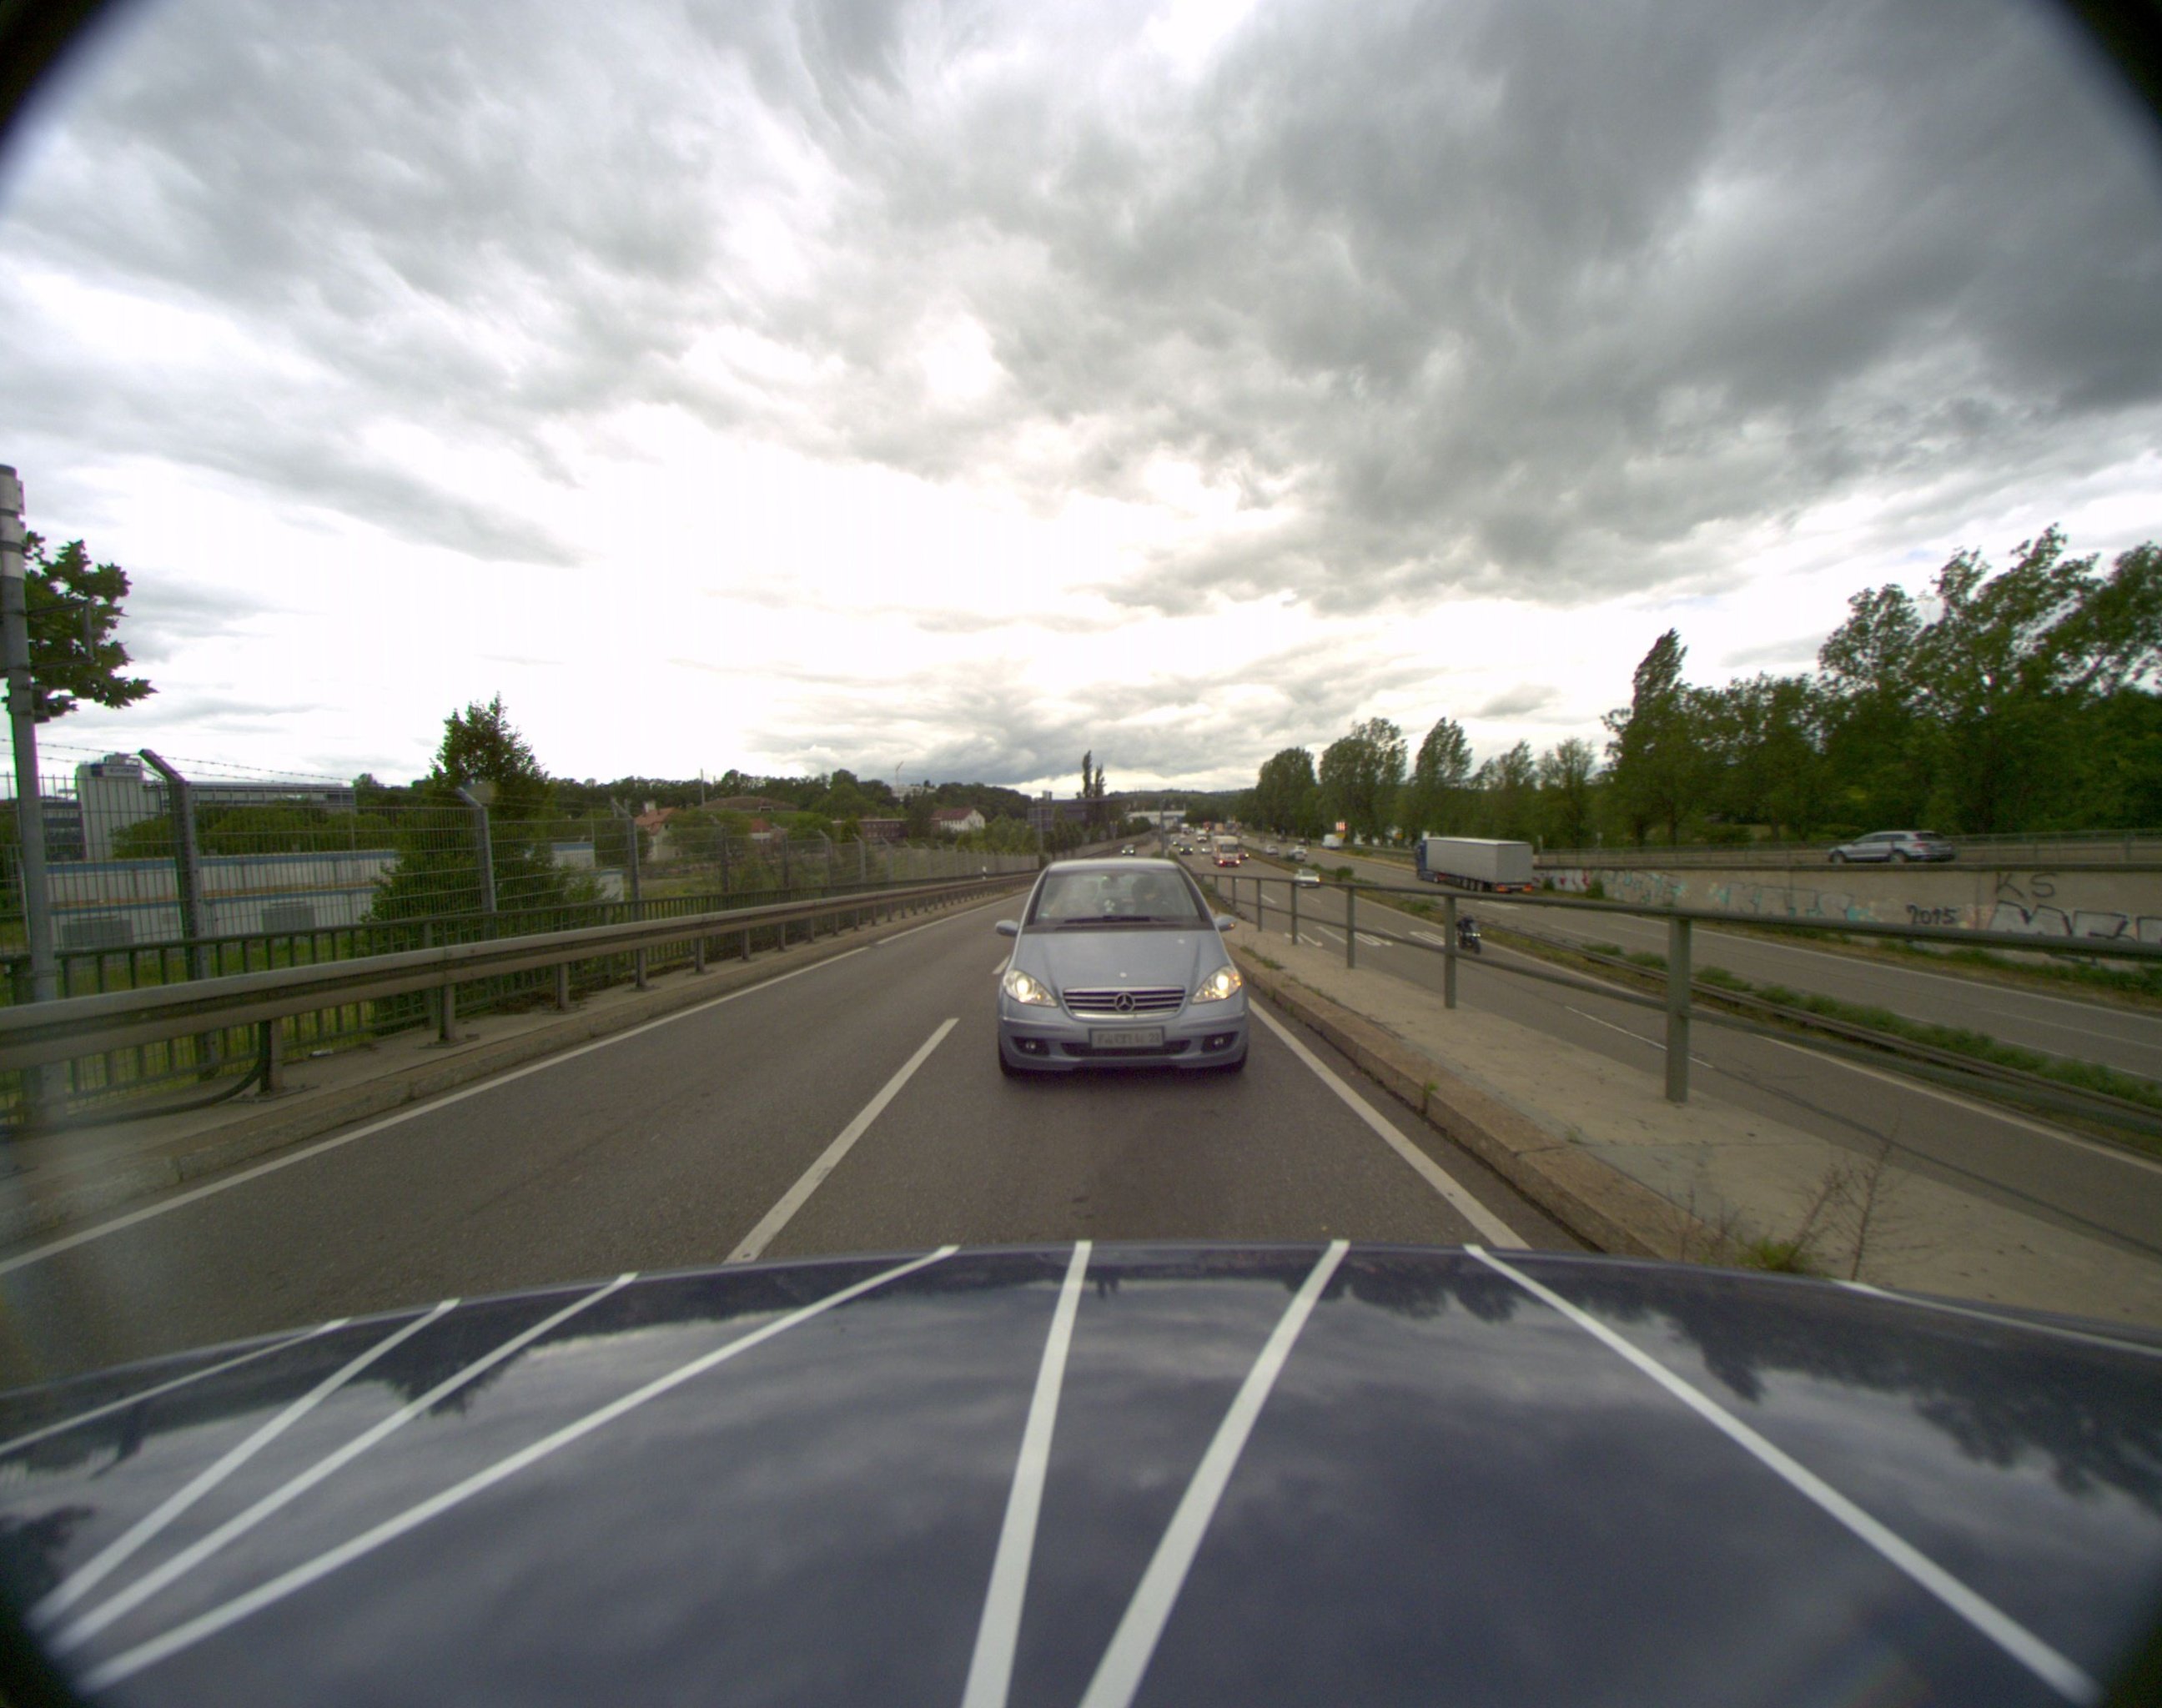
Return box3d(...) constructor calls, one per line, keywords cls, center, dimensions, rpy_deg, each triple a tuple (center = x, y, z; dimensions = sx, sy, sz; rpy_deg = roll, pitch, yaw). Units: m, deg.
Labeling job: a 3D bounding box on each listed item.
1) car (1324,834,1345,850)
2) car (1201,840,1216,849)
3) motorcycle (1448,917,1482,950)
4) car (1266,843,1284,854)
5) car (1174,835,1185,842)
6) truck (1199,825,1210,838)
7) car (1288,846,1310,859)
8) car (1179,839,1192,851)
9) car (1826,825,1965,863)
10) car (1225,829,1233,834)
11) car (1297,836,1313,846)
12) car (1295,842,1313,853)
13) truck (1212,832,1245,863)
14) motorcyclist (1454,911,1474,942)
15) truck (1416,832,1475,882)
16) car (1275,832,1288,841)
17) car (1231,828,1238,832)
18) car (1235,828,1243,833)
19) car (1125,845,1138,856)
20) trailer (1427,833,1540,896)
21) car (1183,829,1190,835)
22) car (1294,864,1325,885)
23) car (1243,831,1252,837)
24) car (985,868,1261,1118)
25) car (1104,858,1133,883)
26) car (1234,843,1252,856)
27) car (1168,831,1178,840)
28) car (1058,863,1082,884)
box3d(cls="car", center=(44.737, -2.189, 134.429), dimensions=(1.998, 2.635, 5.179), rpy_deg=(2, 3, 2))
box3d(cls="car", center=(20.774, -1.566, 123.704), dimensions=(1.789, 1.294, 4.151), rpy_deg=(0, 3, 2))
box3d(cls="motorcycle", center=(17.834, 3.682, 35.357), dimensions=(0.595, 1.197, 2.125), rpy_deg=(-2, 3, 2))
box3d(cls="car", center=(30.133, -0.844, 117.997), dimensions=(1.998, 1.412, 3.999), rpy_deg=(2, 3, 4))
box3d(cls="car", center=(20.632, -3.219, 159.008), dimensions=(1.828, 1.443, 4.125), rpy_deg=(0, 3, 1))
box3d(cls="truck", center=(29.313, -5.453, 180.717), dimensions=(2.238, 2.993, 7.231), rpy_deg=(-1, 3, 6))
box3d(cls="car", center=(28.670, -0.190, 100.113), dimensions=(1.998, 1.412, 3.999), rpy_deg=(2, 3, 4))
box3d(cls="car", center=(16.628, -1.462, 120.983), dimensions=(1.997, 1.830, 4.425), rpy_deg=(0, 3, 7))
box3d(cls="car", center=(38.714, -0.449, 36.289), dimensions=(1.898, 1.642, 4.377), rpy_deg=(-3, 0, 0))
box3d(cls="car", center=(45.073, -6.813, 231.783), dimensions=(1.998, 1.412, 3.999), rpy_deg=(-1, 3, 4))
box3d(cls="car", center=(45.445, -2.637, 154.270), dimensions=(1.886, 1.807, 4.560), rpy_deg=(2, 3, 2))
box3d(cls="car", center=(33.332, -1.003, 113.488), dimensions=(1.682, 1.412, 3.999), rpy_deg=(0, 3, 4))
box3d(cls="truck", center=(18.401, -0.935, 95.299), dimensions=(2.888, 3.506, 9.870), rpy_deg=(1, 3, 4))
box3d(cls="motorcyclist", center=(17.824, 3.364, 35.367), dimensions=(0.595, 1.364, 0.761), rpy_deg=(-2, 3, 2))
box3d(cls="truck", center=(32.892, 0.178, 68.861), dimensions=(2.793, 4.117, 5.933), rpy_deg=(-1, 3, 4))
box3d(cls="car", center=(45.977, -4.048, 174.489), dimensions=(1.886, 1.807, 4.560), rpy_deg=(2, 3, 2))
box3d(cls="car", center=(50.549, -7.861, 250.265), dimensions=(1.998, 1.412, 3.999), rpy_deg=(-1, 3, 4))
box3d(cls="car", center=(47.074, -6.896, 226.220), dimensions=(1.998, 1.412, 3.999), rpy_deg=(-1, 3, 4))
box3d(cls="car", center=(8.117, -0.488, 122.049), dimensions=(1.799, 1.643, 4.153), rpy_deg=(-2, -1, 8))
box3d(cls="trailer", center=(32.435, 0.566, 62.199), dimensions=(2.793, 4.117, 13.759), rpy_deg=(-1, 3, 4))
box3d(cls="car", center=(30.869, -6.431, 222.596), dimensions=(1.769, 1.520, 3.334), rpy_deg=(0, 3, 1))
box3d(cls="car", center=(19.802, 1.735, 66.061), dimensions=(1.696, 1.524, 3.607), rpy_deg=(-1, 3, 2))
box3d(cls="car", center=(45.710, -5.573, 208.423), dimensions=(1.998, 1.412, 3.999), rpy_deg=(-1, 3, 4))
box3d(cls="car", center=(0.302, 0.925, 6.836), dimensions=(1.743, 1.534, 3.993), rpy_deg=(-1, 0, 1))
box3d(cls="car", center=(2.670, 1.180, 54.928), dimensions=(1.830, 1.701, 4.001), rpy_deg=(-2, -1, 1))
box3d(cls="car", center=(22.712, -0.636, 106.550), dimensions=(1.834, 1.570, 4.180), rpy_deg=(-2, 4, 2))
box3d(cls="car", center=(22.041, -4.420, 182.718), dimensions=(1.998, 2.003, 3.999), rpy_deg=(1, 3, 3))
box3d(cls="car", center=(-0.823, 1.472, 58.826), dimensions=(1.589, 1.423, 3.443), rpy_deg=(-2, 1, 3))
